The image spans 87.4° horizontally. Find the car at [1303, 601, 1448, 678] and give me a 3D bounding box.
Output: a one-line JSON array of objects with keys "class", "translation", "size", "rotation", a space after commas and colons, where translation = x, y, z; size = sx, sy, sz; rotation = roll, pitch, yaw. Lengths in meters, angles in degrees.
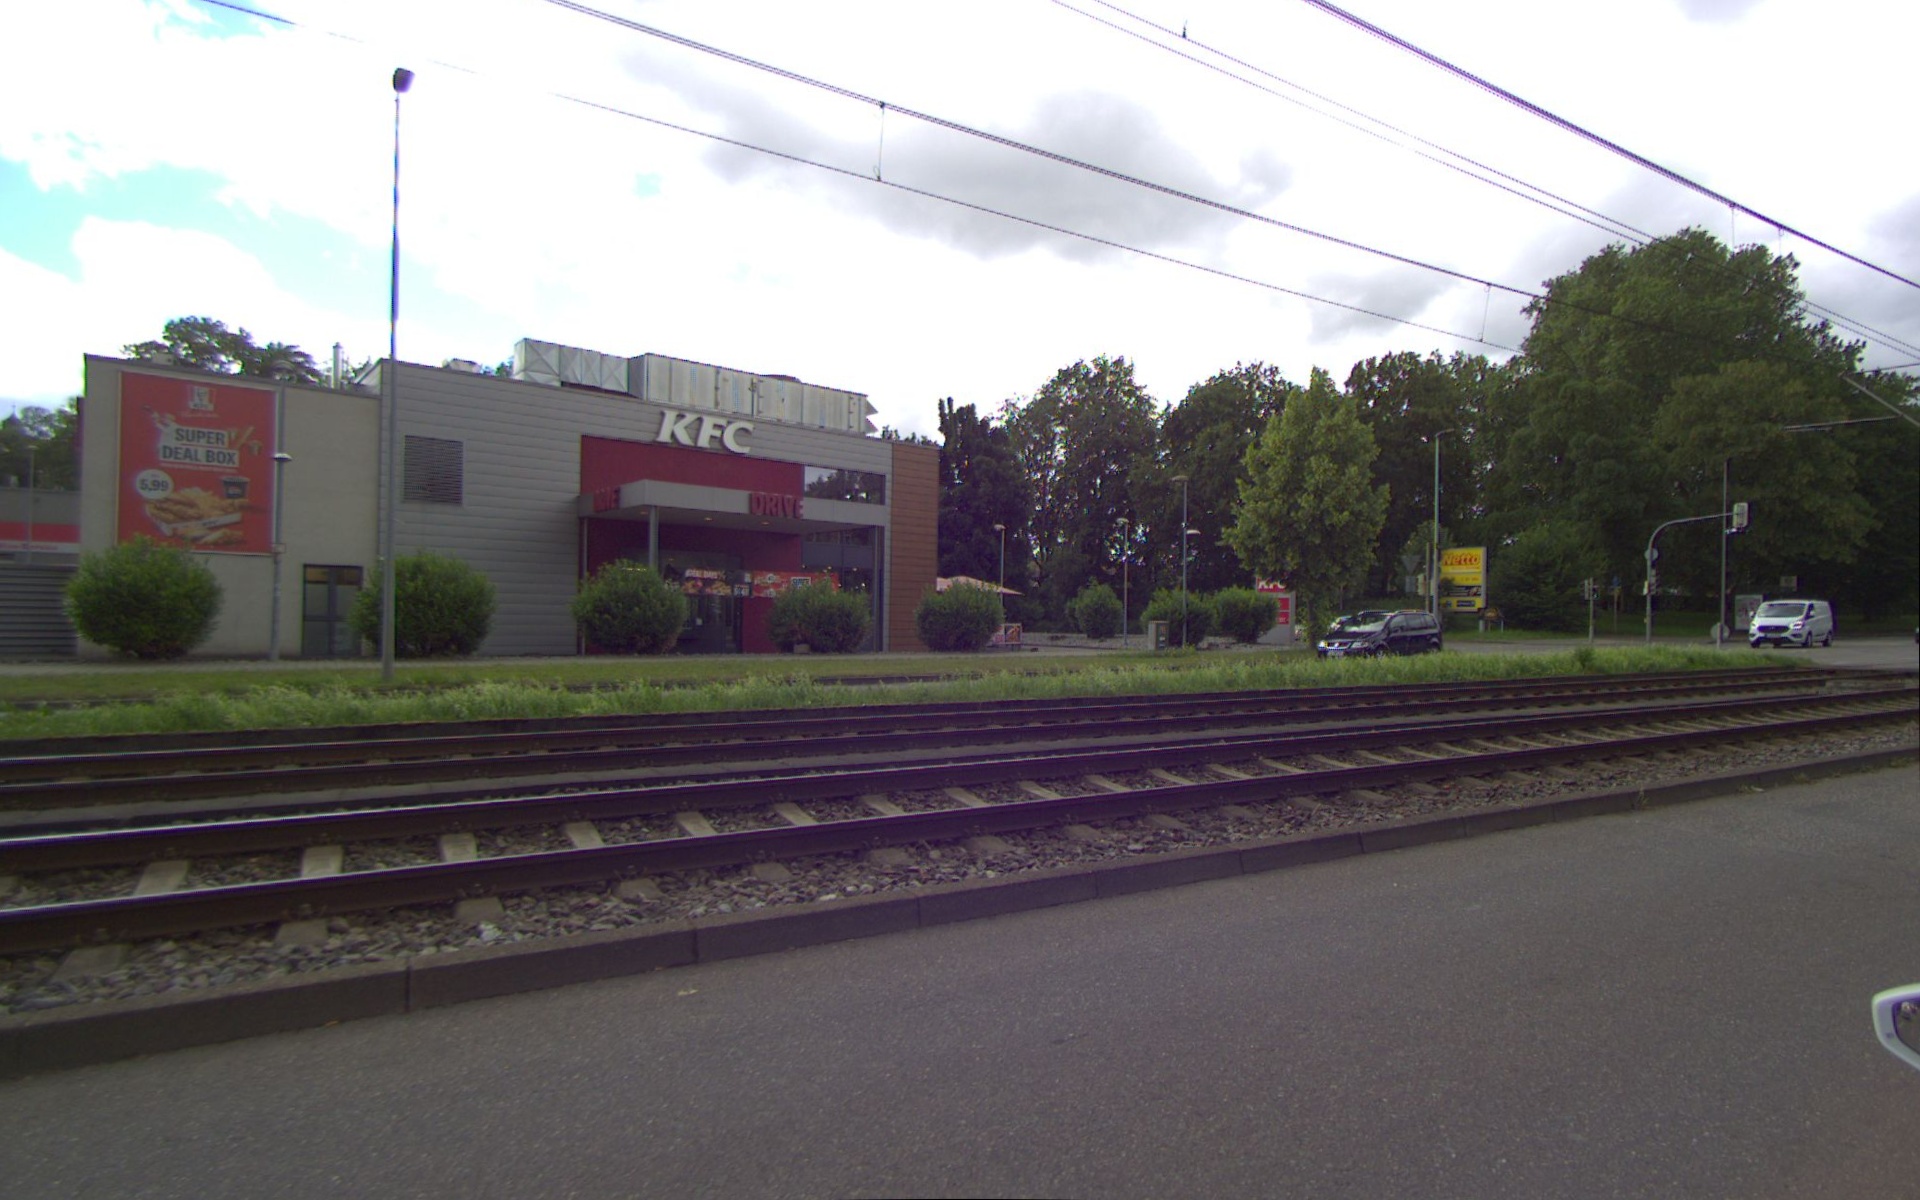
[{"class": "car", "translation": [11.924, 1.106, 28.765], "size": [4.065, 2.040, 1.981], "rotation": [1, -1, -35]}]

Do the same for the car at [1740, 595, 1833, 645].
[{"class": "car", "translation": [35.628, 0.875, 43.244], "size": [4.839, 2.040, 1.980], "rotation": [1, -1, -36]}]

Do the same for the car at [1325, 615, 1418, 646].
[{"class": "car", "translation": [19.887, 1.440, 48.681], "size": [1.826, 1.426, 3.858], "rotation": [1, -1, -32]}]

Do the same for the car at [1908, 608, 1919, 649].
[{"class": "car", "translation": [45.820, 1.373, 46.669], "size": [3.958, 1.885, 1.686], "rotation": [1, 2, -34]}]

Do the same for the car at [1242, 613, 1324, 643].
[{"class": "car", "translation": [17.291, 1.484, 53.901], "size": [1.826, 1.572, 3.966], "rotation": [1, -1, -32]}]
